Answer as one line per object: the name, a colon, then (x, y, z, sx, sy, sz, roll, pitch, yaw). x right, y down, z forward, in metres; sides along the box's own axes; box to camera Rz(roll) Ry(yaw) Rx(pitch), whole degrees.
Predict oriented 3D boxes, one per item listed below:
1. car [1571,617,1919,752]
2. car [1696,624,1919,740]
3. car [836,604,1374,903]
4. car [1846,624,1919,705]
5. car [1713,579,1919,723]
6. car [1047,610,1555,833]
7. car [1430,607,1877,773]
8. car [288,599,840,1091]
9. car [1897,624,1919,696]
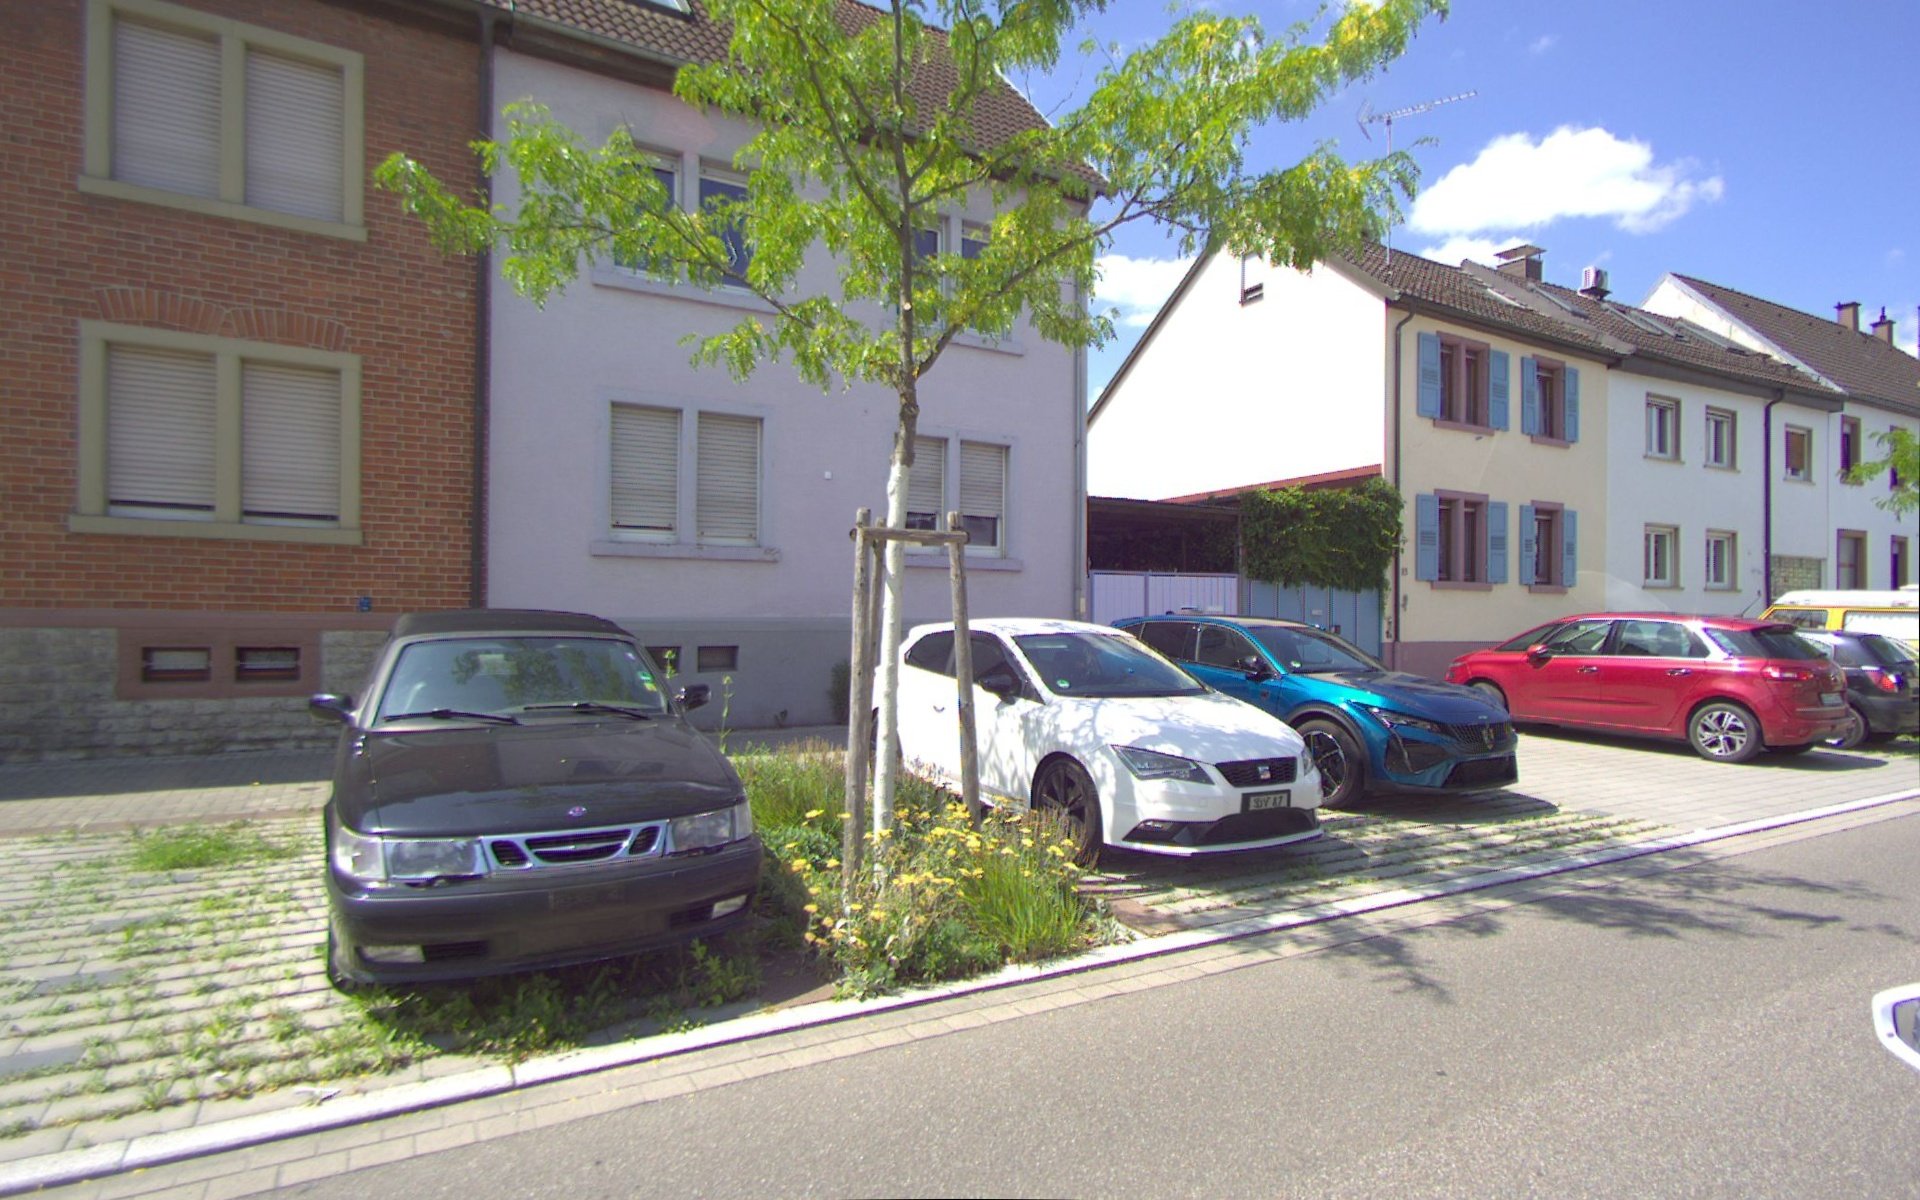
car: (10.834, 1.036, 13.832, 1.736, 1.479, 3.770, 1, 0, -32)
car: (13.357, 1.151, 14.548, 1.734, 1.479, 3.991, 1, 0, -29)
car: (0.735, 0.825, 7.423, 1.756, 1.497, 4.031, 1, 0, -32)
car: (19.174, 1.252, 18.495, 1.738, 1.487, 4.041, 1, 0, -37)
car: (15.309, 0.796, 16.341, 1.902, 2.206, 4.488, 1, 0, -29)
car: (2.859, 0.894, 9.435, 1.757, 1.497, 4.377, 1, 0, -33)
car: (8.379, 0.954, 12.575, 1.821, 1.633, 4.233, 1, 0, -30)
car: (-2.348, 0.757, 5.444, 1.774, 1.444, 4.503, 1, 0, -29)
car: (21.498, 1.291, 20.074, 1.644, 1.487, 3.850, 2, 0, -37)
